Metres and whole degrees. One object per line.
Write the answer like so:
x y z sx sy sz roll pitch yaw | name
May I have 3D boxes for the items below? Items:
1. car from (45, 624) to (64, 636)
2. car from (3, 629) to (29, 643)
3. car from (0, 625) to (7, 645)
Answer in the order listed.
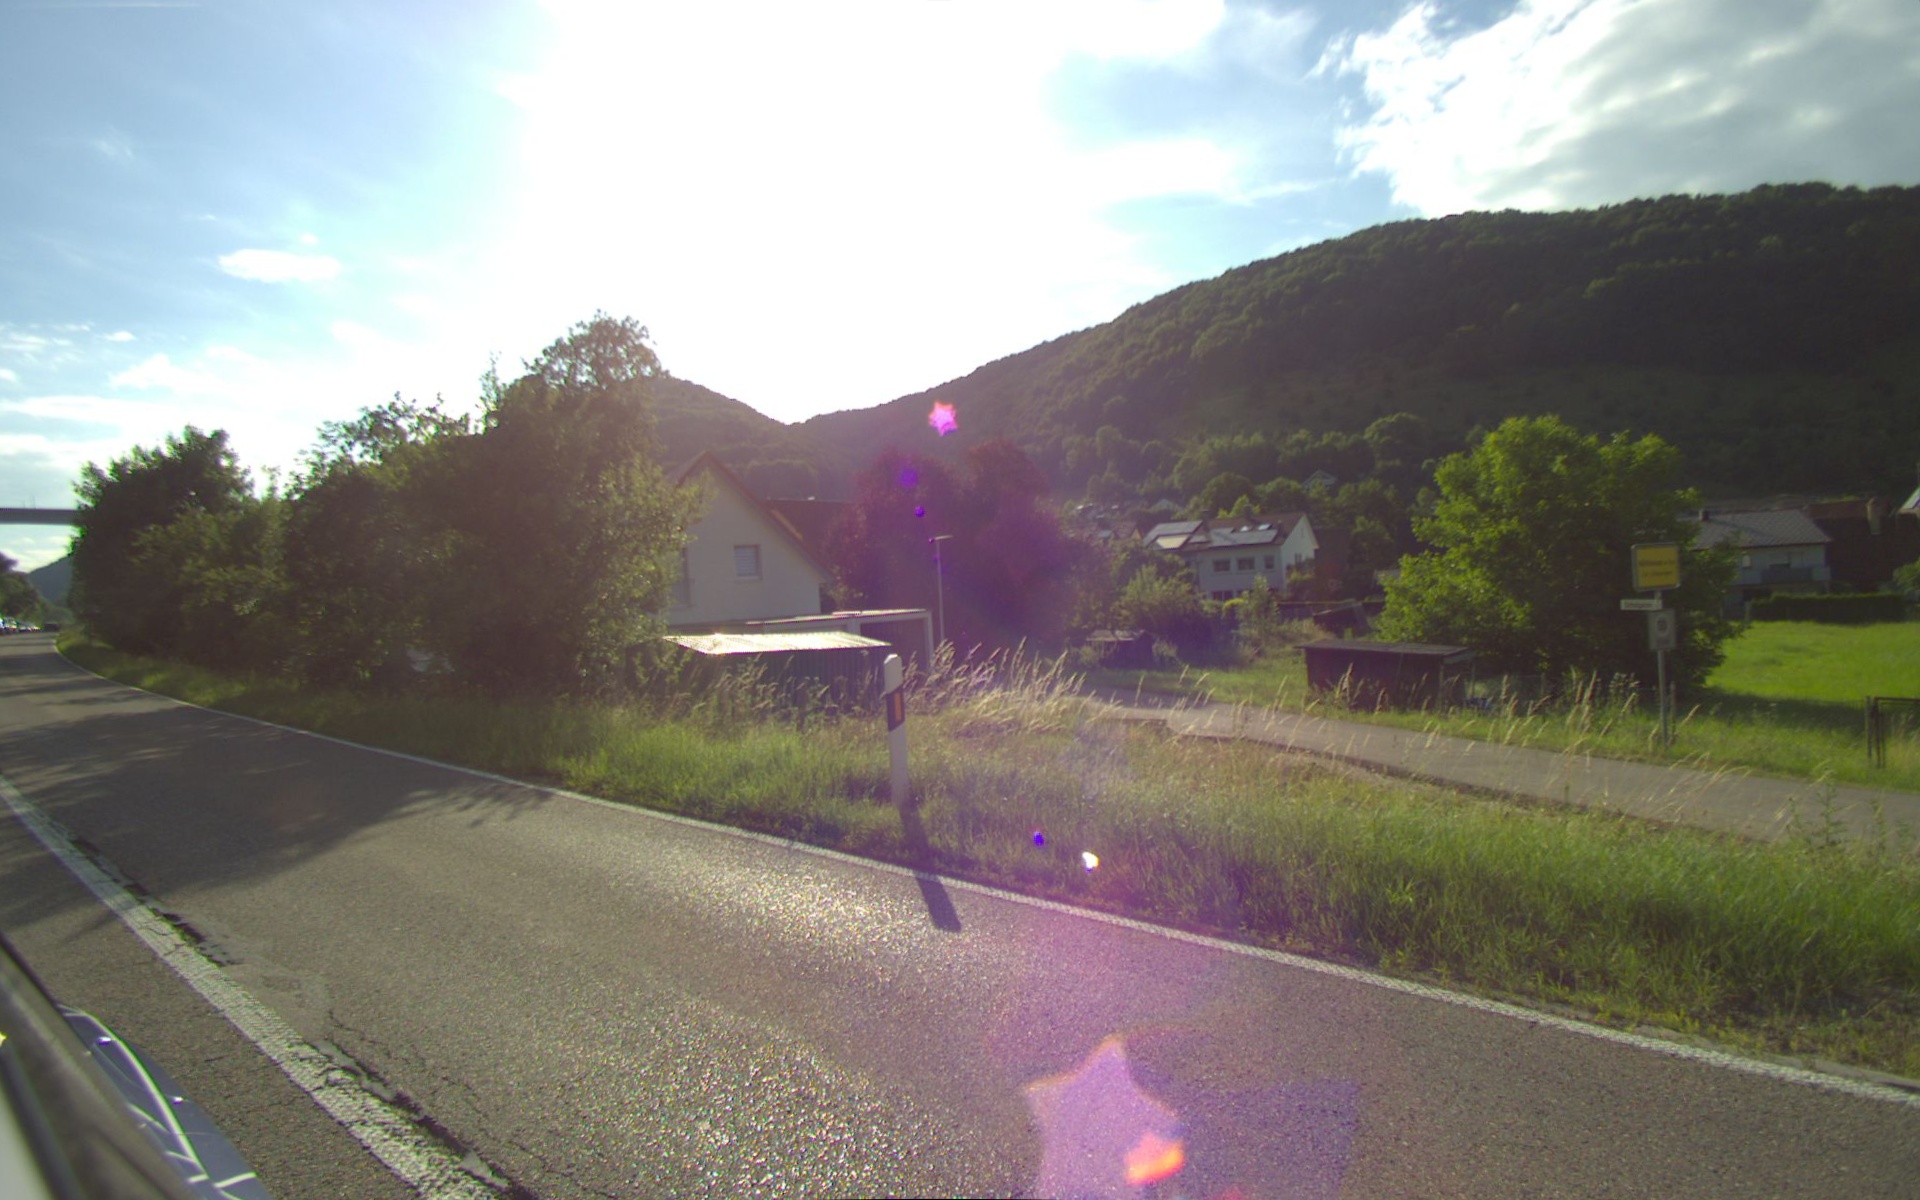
-126.977 4.189 141.933 1.793 1.630 3.808 1 -2 -44 | car
-110.738 4.200 118.790 1.813 1.564 4.186 1 -2 -38 | car
-79.587 2.861 83.097 1.792 1.630 4.005 1 -2 -42 | car
